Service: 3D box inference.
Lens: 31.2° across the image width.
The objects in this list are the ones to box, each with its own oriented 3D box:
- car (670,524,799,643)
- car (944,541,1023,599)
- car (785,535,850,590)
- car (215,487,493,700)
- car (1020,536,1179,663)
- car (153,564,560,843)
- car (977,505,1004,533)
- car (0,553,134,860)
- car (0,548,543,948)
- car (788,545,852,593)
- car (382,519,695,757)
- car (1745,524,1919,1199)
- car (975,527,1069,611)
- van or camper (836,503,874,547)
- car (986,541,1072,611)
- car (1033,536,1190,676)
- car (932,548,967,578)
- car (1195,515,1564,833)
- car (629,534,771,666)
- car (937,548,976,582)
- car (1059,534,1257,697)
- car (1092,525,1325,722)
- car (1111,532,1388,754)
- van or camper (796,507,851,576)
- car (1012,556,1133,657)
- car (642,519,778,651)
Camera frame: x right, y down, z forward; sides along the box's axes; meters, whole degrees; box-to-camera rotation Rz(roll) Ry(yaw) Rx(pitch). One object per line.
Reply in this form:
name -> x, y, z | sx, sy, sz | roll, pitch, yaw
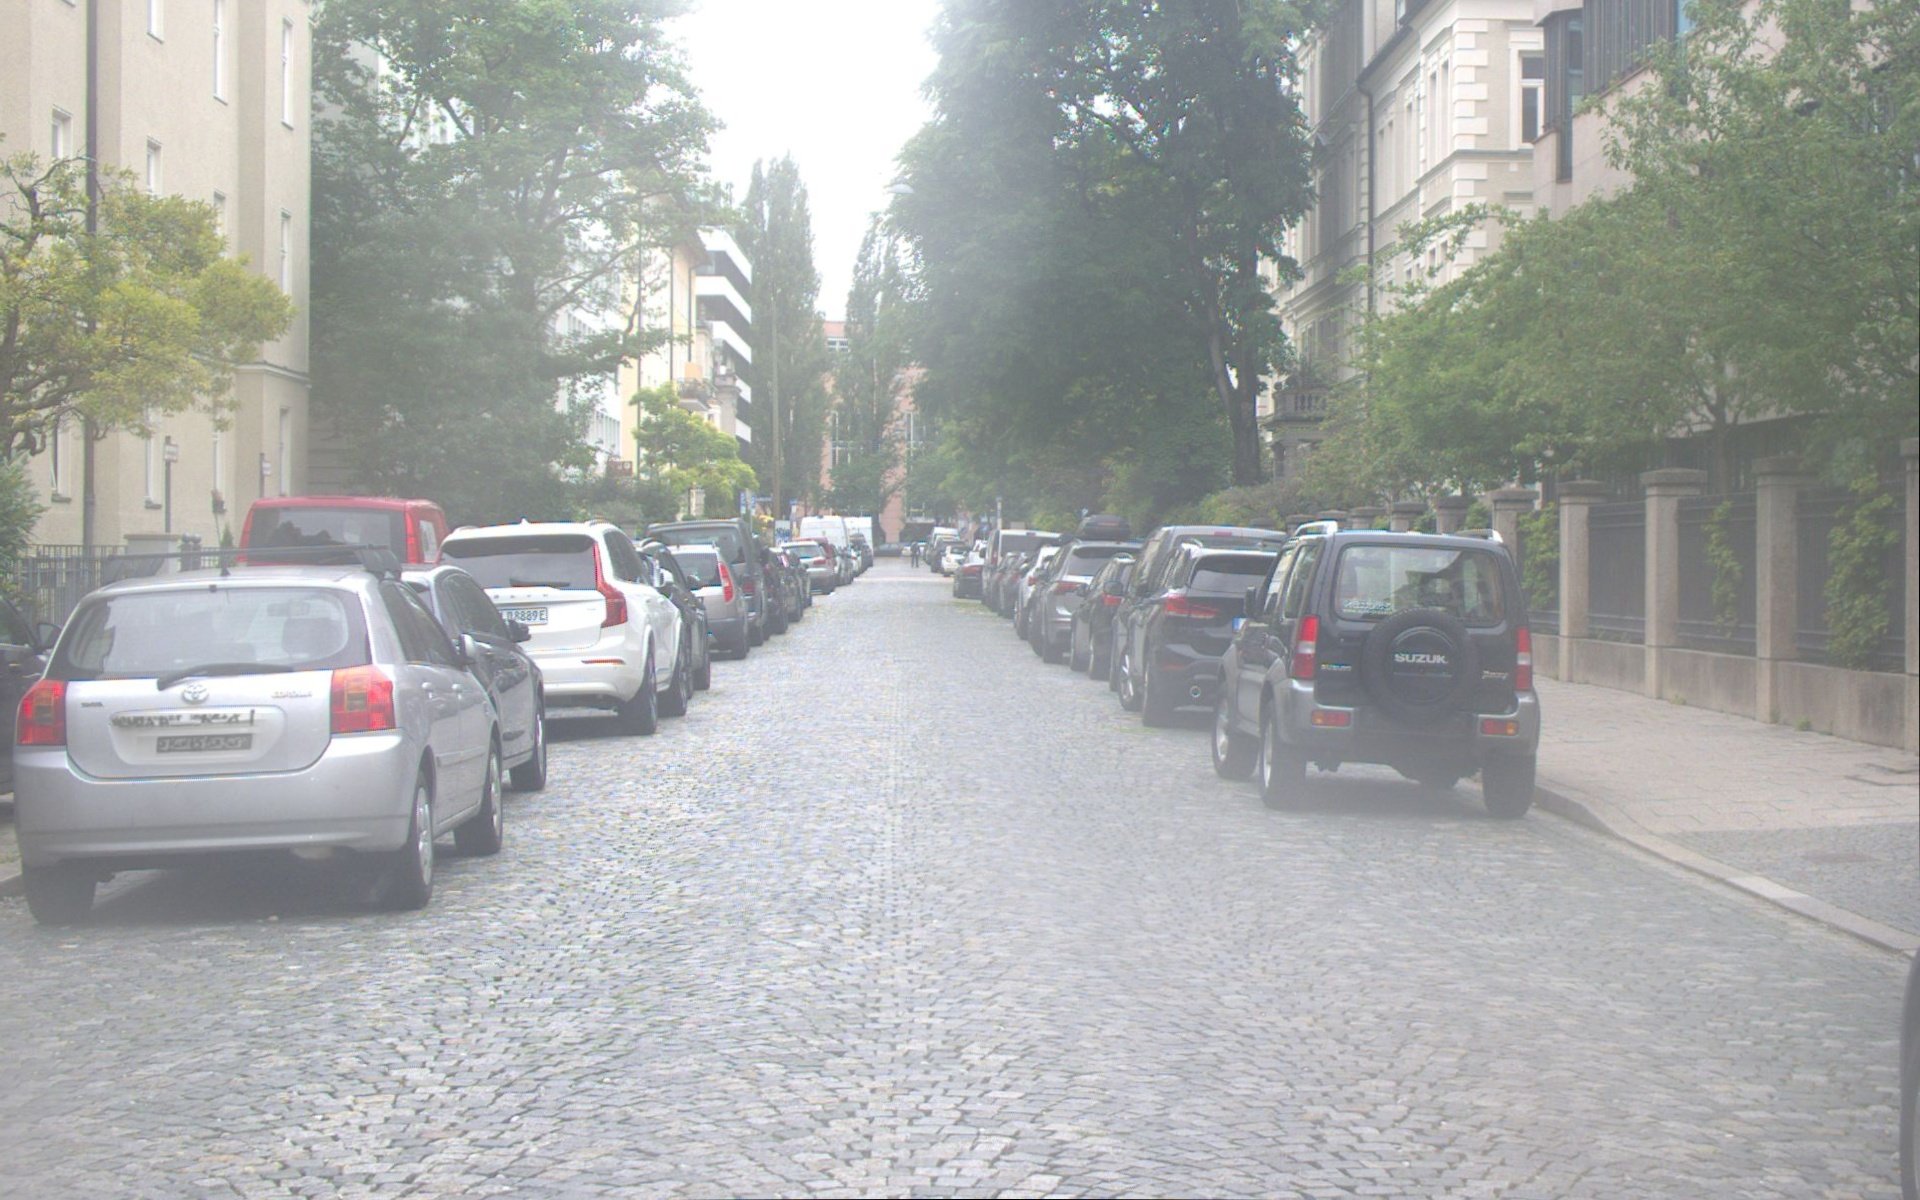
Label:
car -> -3.906, -0.318, 60.326 | 1.993, 1.910, 5.178 | -3, 1, -2
car -> 0.641, -0.872, 97.173 | 1.873, 1.498, 4.512 | 3, 1, -3
car -> -4.383, -1.153, 105.022 | 1.873, 1.574, 4.256 | -2, 1, -3
car -> -6.032, -0.103, 34.840 | 1.994, 1.924, 5.331 | 2, 1, -2
car -> 2.080, -0.053, 52.483 | 1.873, 1.729, 4.748 | 4, 1, -3
car -> -3.437, 0.529, 20.258 | 1.729, 1.414, 3.937 | -2, 1, -1
car -> 2.294, -6.164, 261.978 | 1.993, 2.007, 4.000 | 1, 0, 0
car -> -5.602, 0.505, 17.421 | 1.715, 1.492, 4.722 | 3, 1, -1
car -> -3.037, 0.560, 15.946 | 1.713, 1.557, 4.391 | -1, 1, -1
car -> -4.977, -1.112, 122.927 | 1.873, 1.574, 4.208 | 3, 1, 2
car -> -3.475, 0.260, 29.310 | 2.006, 1.803, 5.174 | -1, 1, 0
car -> 2.916, 0.690, 5.549 | 1.993, 1.546, 5.015 | 3, 1, -1
car -> 1.510, -0.797, 85.196 | 1.873, 1.922, 5.165 | 3, 1, -3
van or camper -> -6.777, -4.850, 222.430 | 2.256, 2.733, 5.098 | 1, 1, -1
car -> 1.567, -0.572, 79.495 | 1.837, 1.485, 4.421 | 3, 1, 0
car -> 1.999, 0.046, 46.637 | 1.873, 1.729, 4.892 | 2, 1, 0
car -> -0.547, -1.946, 179.546 | 1.790, 1.515, 4.000 | 1, 1, 0
car -> 2.546, 0.394, 21.719 | 1.618, 1.745, 3.887 | 3, 1, -2
car -> -3.658, -0.038, 48.837 | 1.865, 1.729, 4.404 | -2, 1, -3
car -> -0.165, -1.614, 158.828 | 1.790, 1.515, 4.000 | 1, 1, 0
car -> 2.331, 0.139, 41.610 | 1.873, 1.729, 4.659 | 4, 1, -2
car -> 2.499, 0.194, 35.641 | 1.788, 1.790, 4.510 | 4, 1, -2
car -> 2.447, 0.313, 30.200 | 1.860, 1.696, 4.813 | 3, 1, -1
van or camper -> -5.463, -2.345, 137.882 | 1.993, 2.643, 4.000 | -2, 1, 0
car -> 1.842, 0.074, 57.618 | 1.873, 1.485, 4.617 | 3, 1, 1
car -> -3.872, -0.265, 53.892 | 1.873, 1.910, 4.828 | -2, 1, -2
